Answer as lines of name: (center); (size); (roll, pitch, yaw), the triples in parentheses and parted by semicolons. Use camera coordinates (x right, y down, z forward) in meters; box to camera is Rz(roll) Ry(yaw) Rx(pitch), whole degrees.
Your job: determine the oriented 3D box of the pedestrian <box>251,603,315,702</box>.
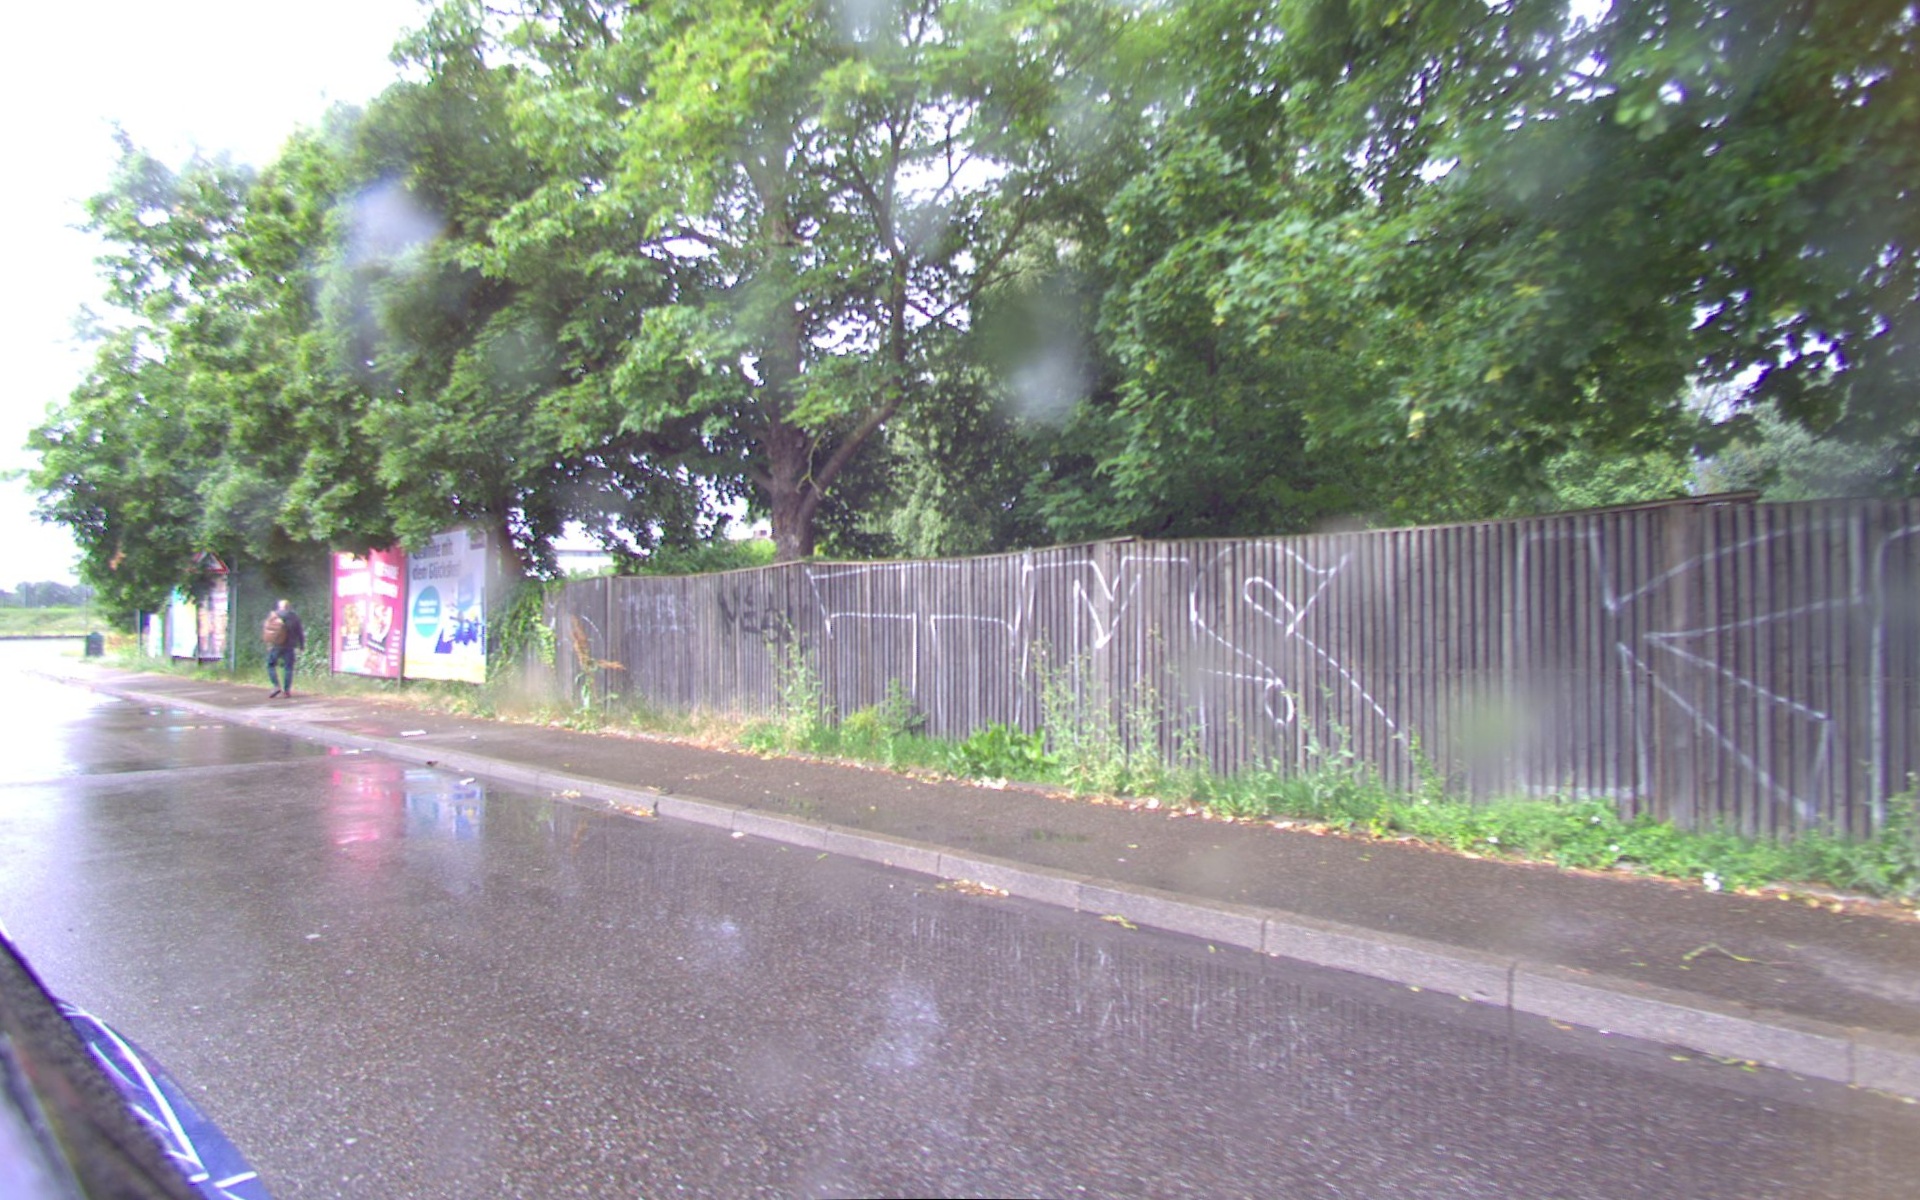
pedestrian: (-12.539, 0.963, 18.749); (0.644, 1.783, 0.830); (-2, -3, 41)
